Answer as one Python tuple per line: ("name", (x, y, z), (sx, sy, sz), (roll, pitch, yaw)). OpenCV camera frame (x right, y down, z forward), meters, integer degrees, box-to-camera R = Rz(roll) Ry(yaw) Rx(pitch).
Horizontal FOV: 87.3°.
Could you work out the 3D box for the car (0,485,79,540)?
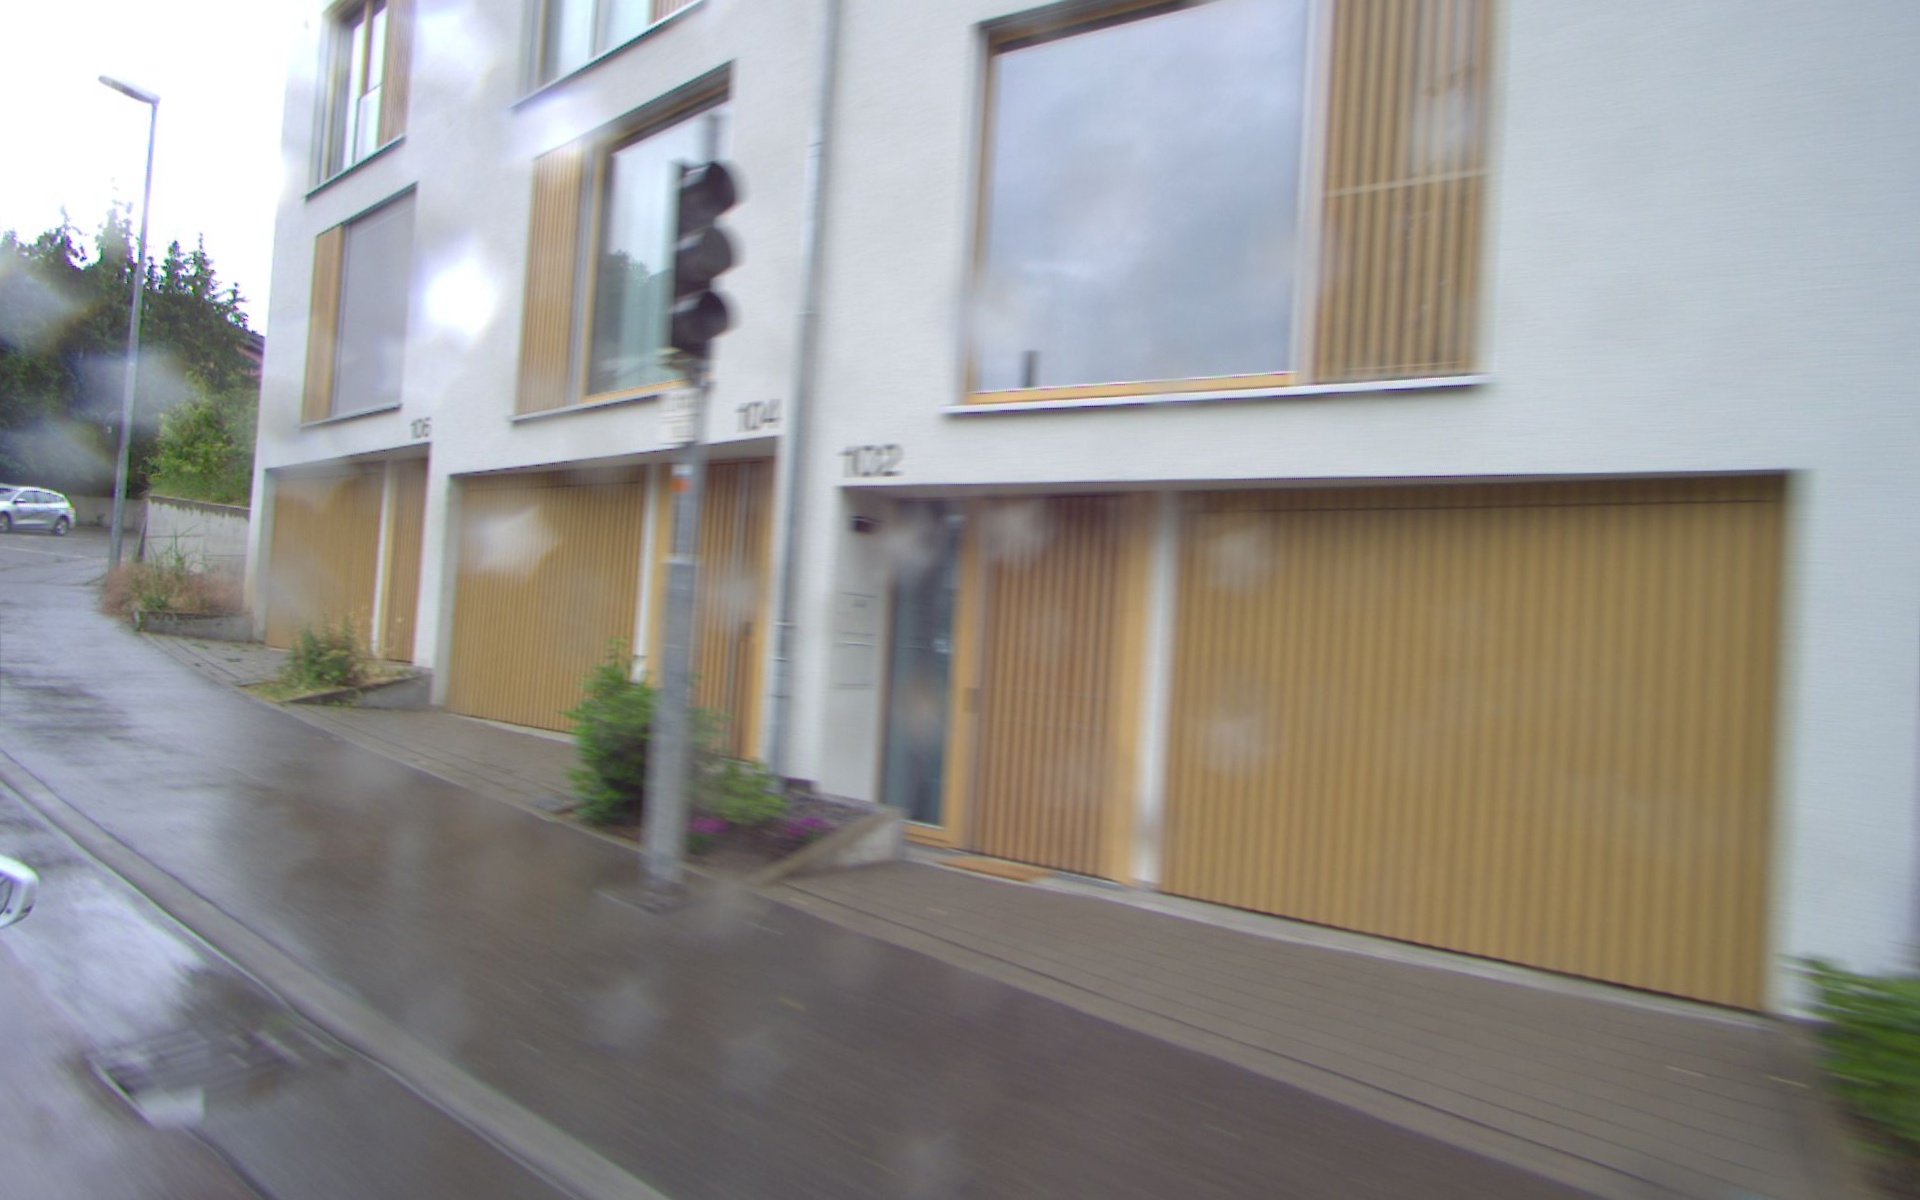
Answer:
("car", (-29.250, -2.779, 30.833), (1.576, 1.430, 4.224), (8, -1, -16))
